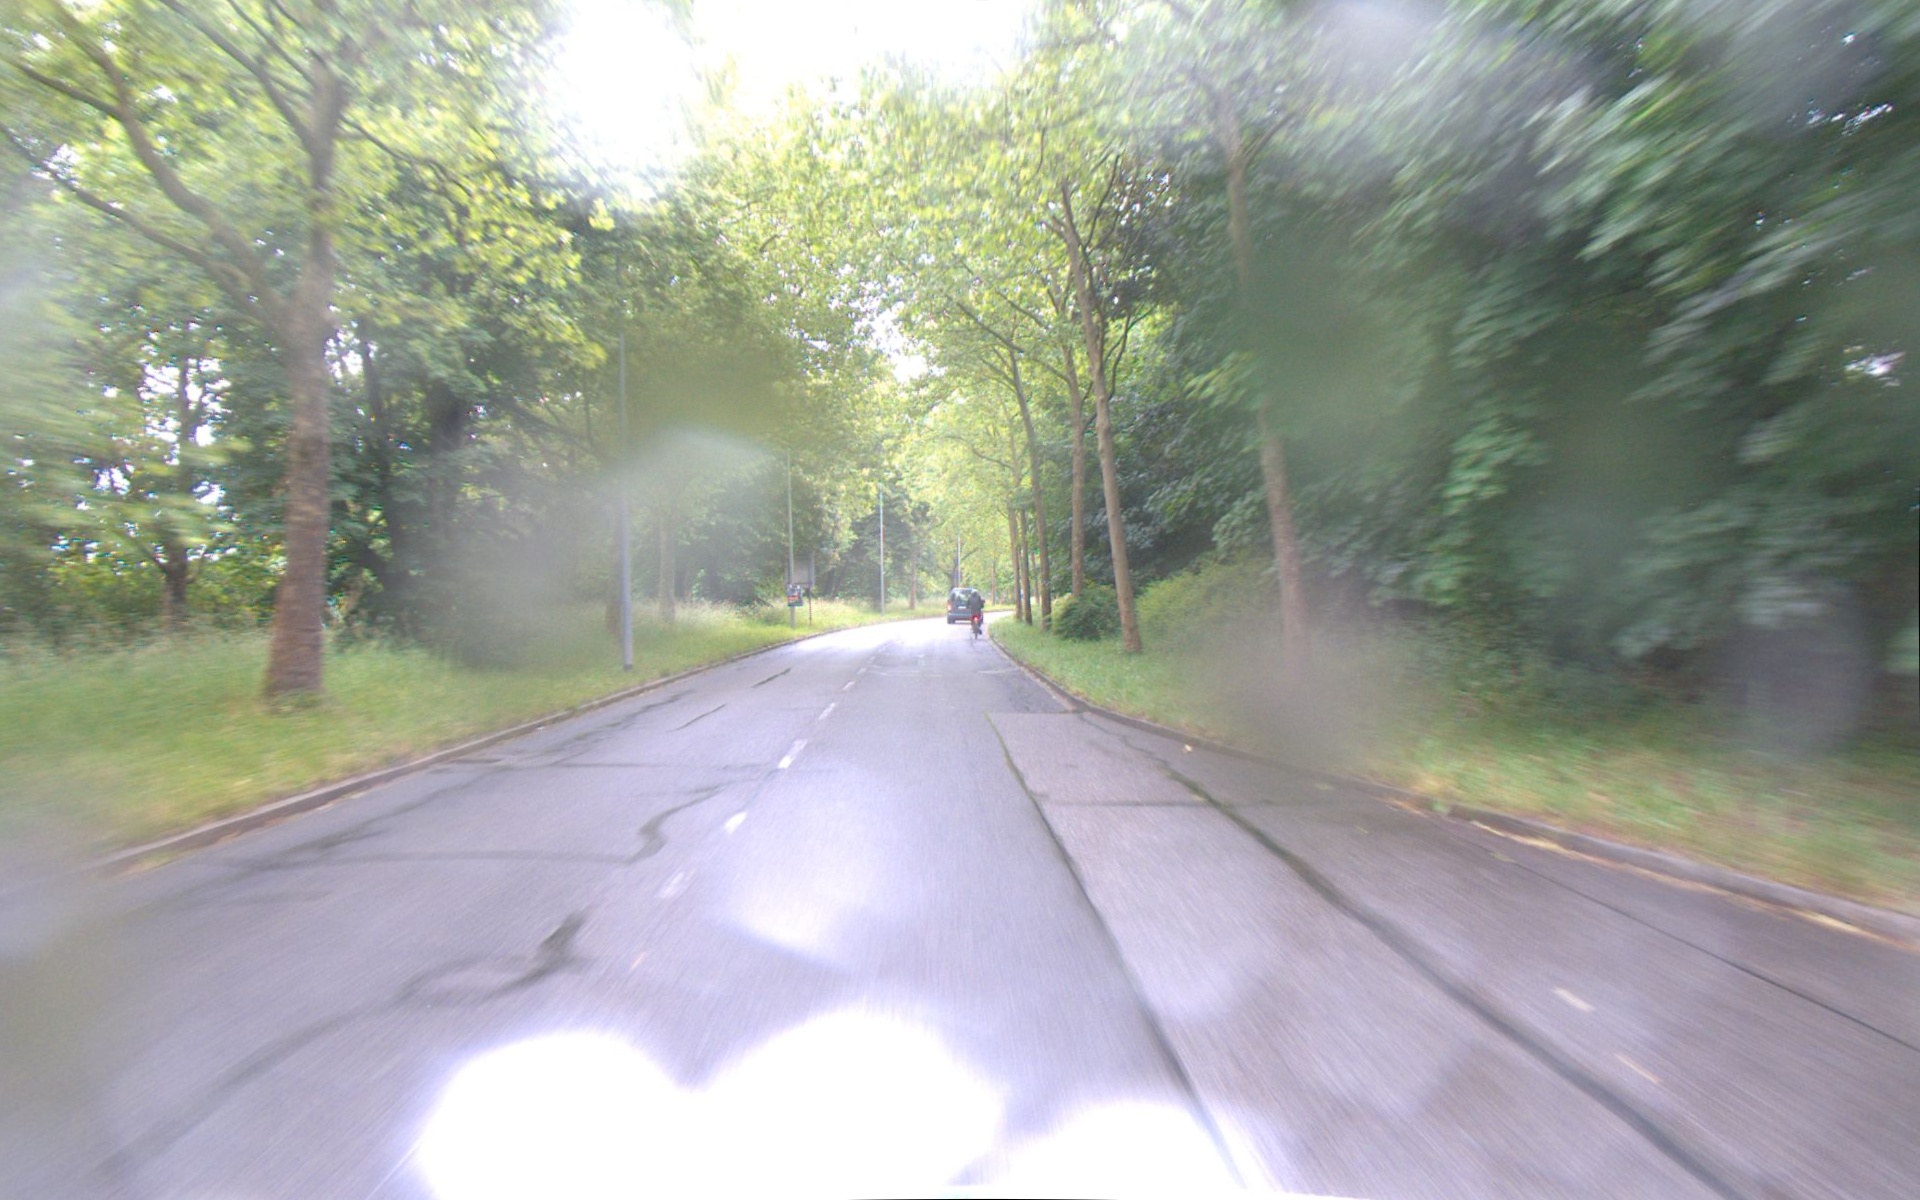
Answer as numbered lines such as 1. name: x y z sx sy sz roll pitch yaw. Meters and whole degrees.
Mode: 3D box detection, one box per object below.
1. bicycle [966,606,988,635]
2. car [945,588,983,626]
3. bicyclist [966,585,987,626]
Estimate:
1. bicycle: 0.593 0.724 58.397 0.714 0.991 2.173 0 0 2
2. car: 0.218 0.348 87.398 1.945 1.959 4.000 -1 0 0
3. bicyclist: 0.588 0.190 58.318 0.714 1.435 0.973 0 0 2
